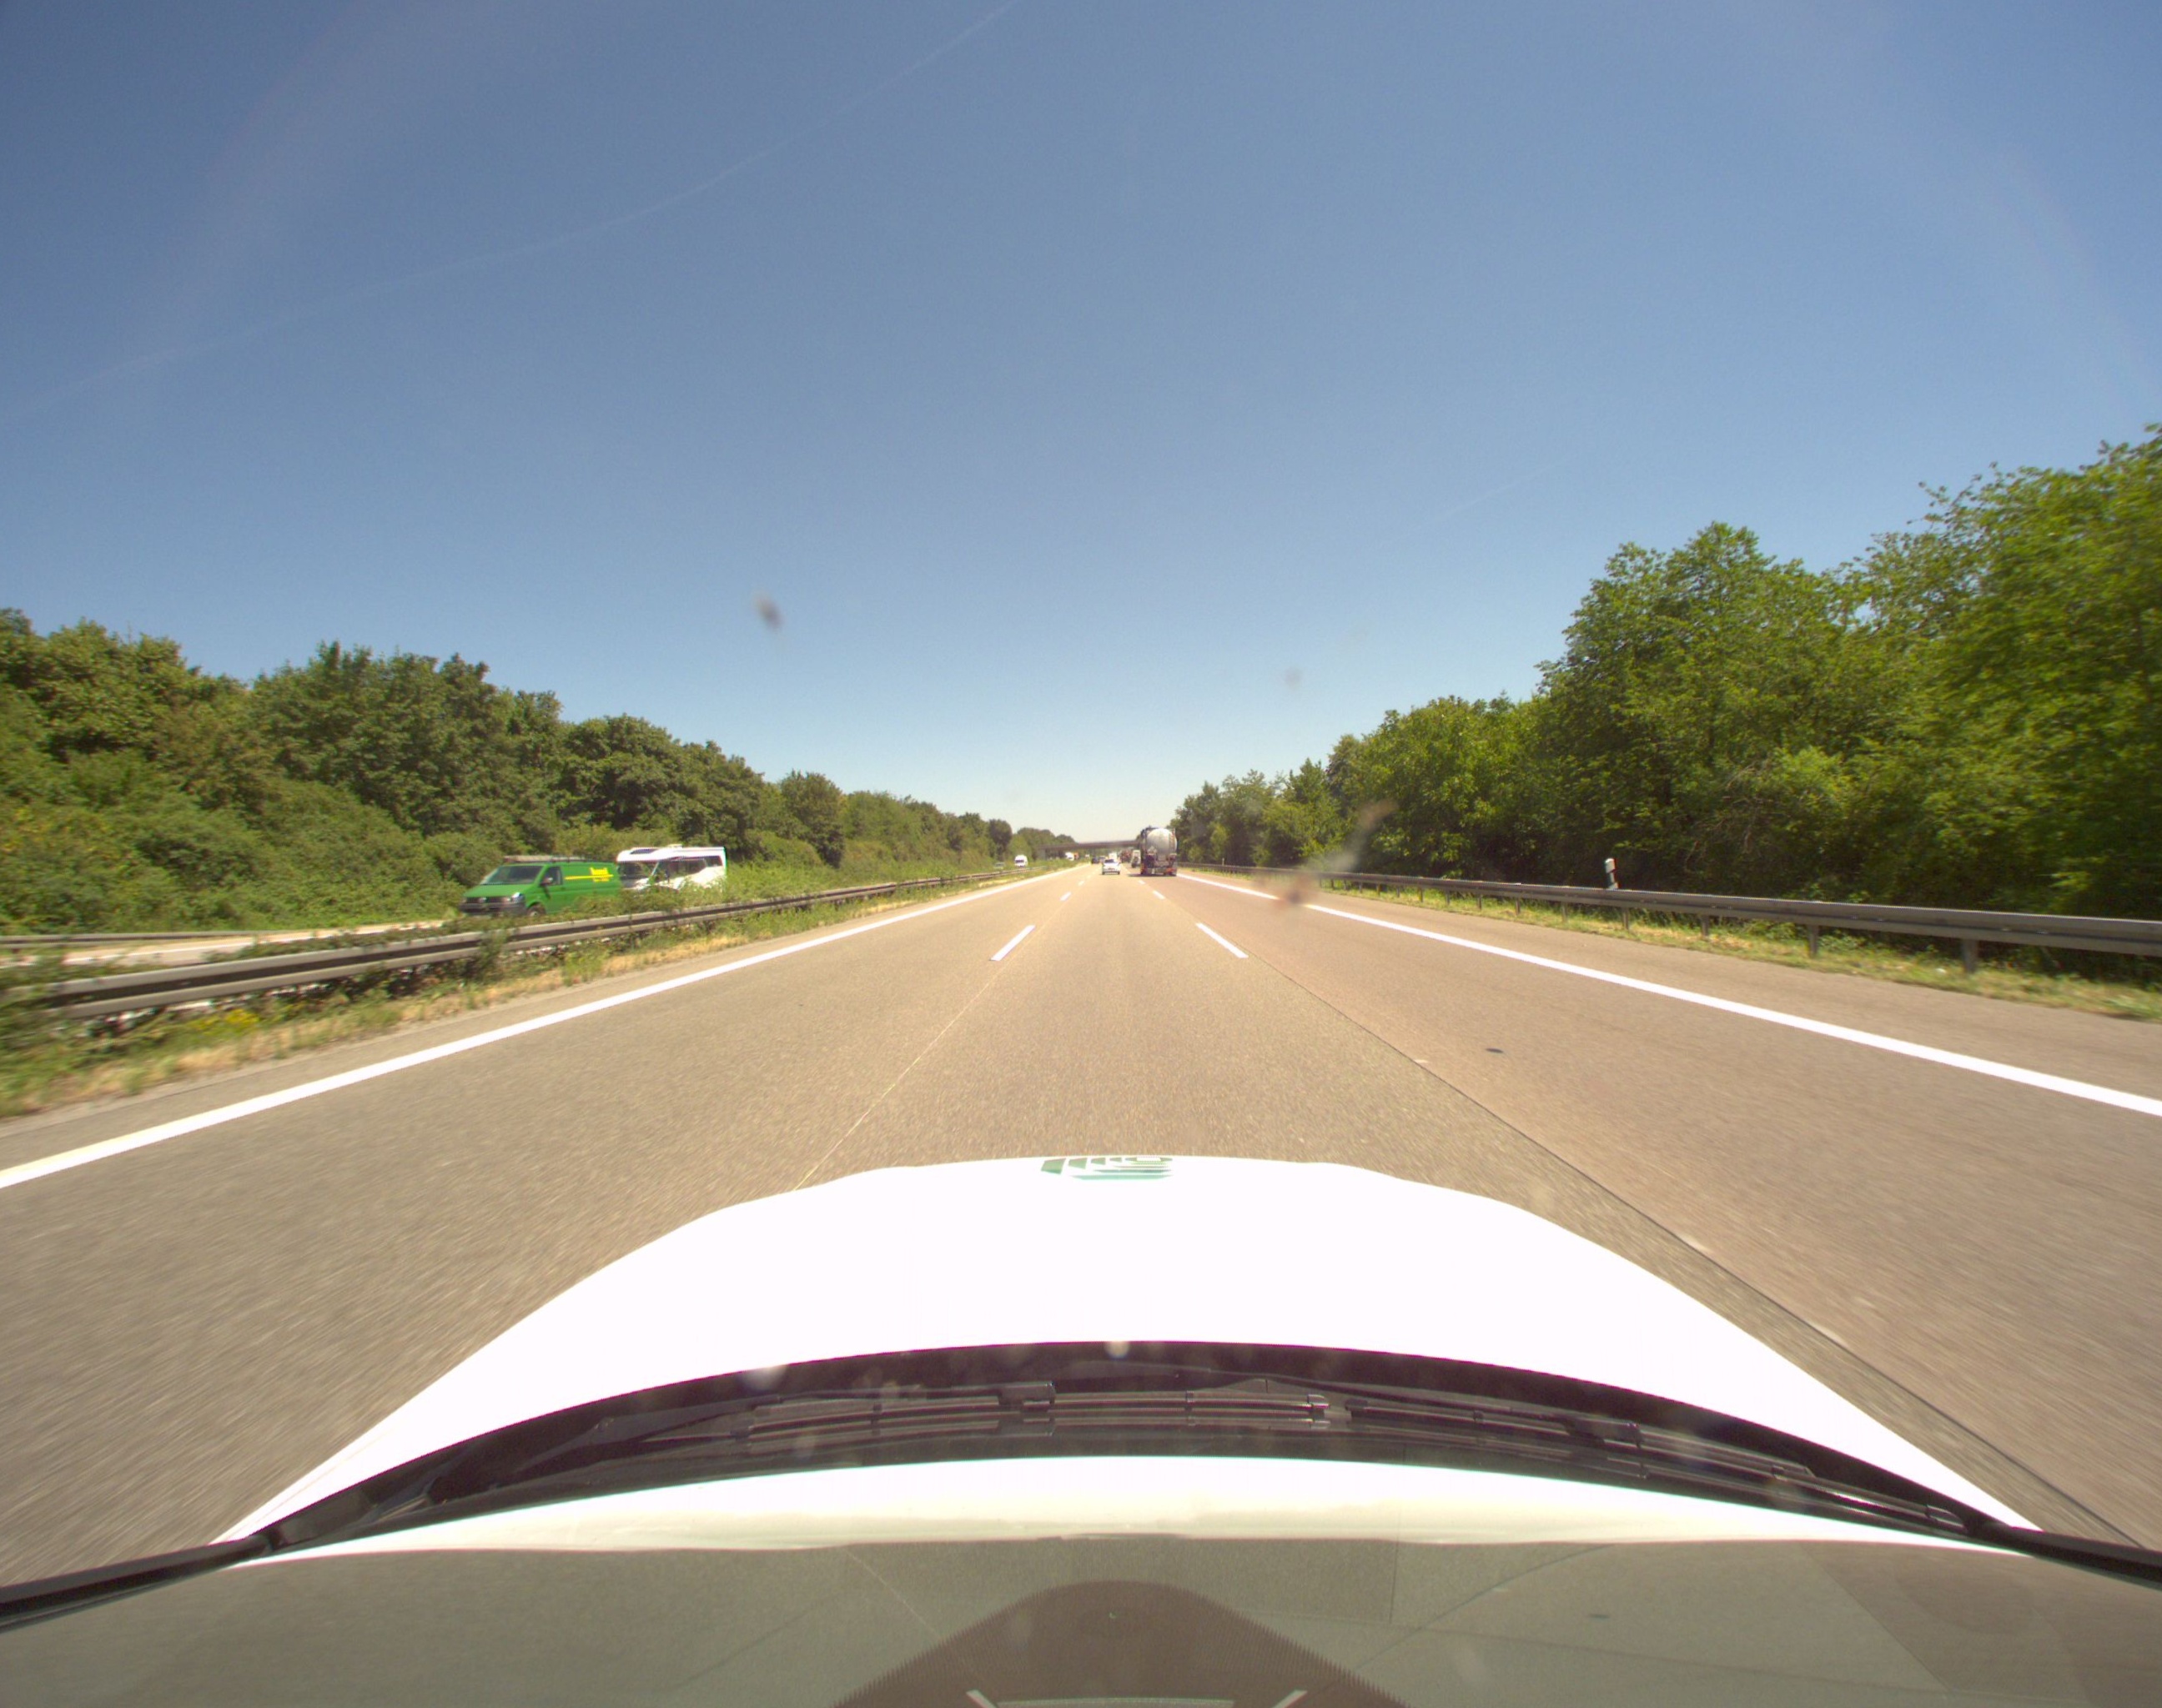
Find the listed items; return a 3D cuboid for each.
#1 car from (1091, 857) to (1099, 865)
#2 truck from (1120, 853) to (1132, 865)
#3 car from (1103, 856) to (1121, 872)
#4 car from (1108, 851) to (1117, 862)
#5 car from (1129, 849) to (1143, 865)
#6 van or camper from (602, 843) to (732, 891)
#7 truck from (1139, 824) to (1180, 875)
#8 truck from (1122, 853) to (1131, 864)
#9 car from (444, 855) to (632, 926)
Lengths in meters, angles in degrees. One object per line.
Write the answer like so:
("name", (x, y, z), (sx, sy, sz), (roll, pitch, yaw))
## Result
("car", (3.389, 1.635, 196.997), (1.986, 1.725, 4.788), (-1, 0, 2))
("truck", (12.225, 1.328, 221.424), (2.904, 3.240, 6.346), (-1, -1, 2))
("car", (2.927, 0.948, 77.705), (1.621, 1.479, 4.002), (-1, 0, 2))
("car", (7.359, 0.584, 188.642), (1.985, 2.343, 4.390), (-1, 0, 3))
("car", (8.216, 0.427, 122.047), (1.986, 2.225, 4.788), (-1, 0, 2))
("van or camper", (-19.172, 0.579, 38.224), (2.487, 2.013, 6.368), (-1, 0, 3))
("truck", (6.609, -0.337, 69.888), (2.729, 4.052, 10.458), (-1, 0, 2))
("truck", (12.894, 1.338, 232.129), (2.281, 3.240, 6.346), (-1, -1, 2))
("car", (-16.447, 1.006, 25.135), (1.986, 1.878, 5.460), (-2, 0, 1))
